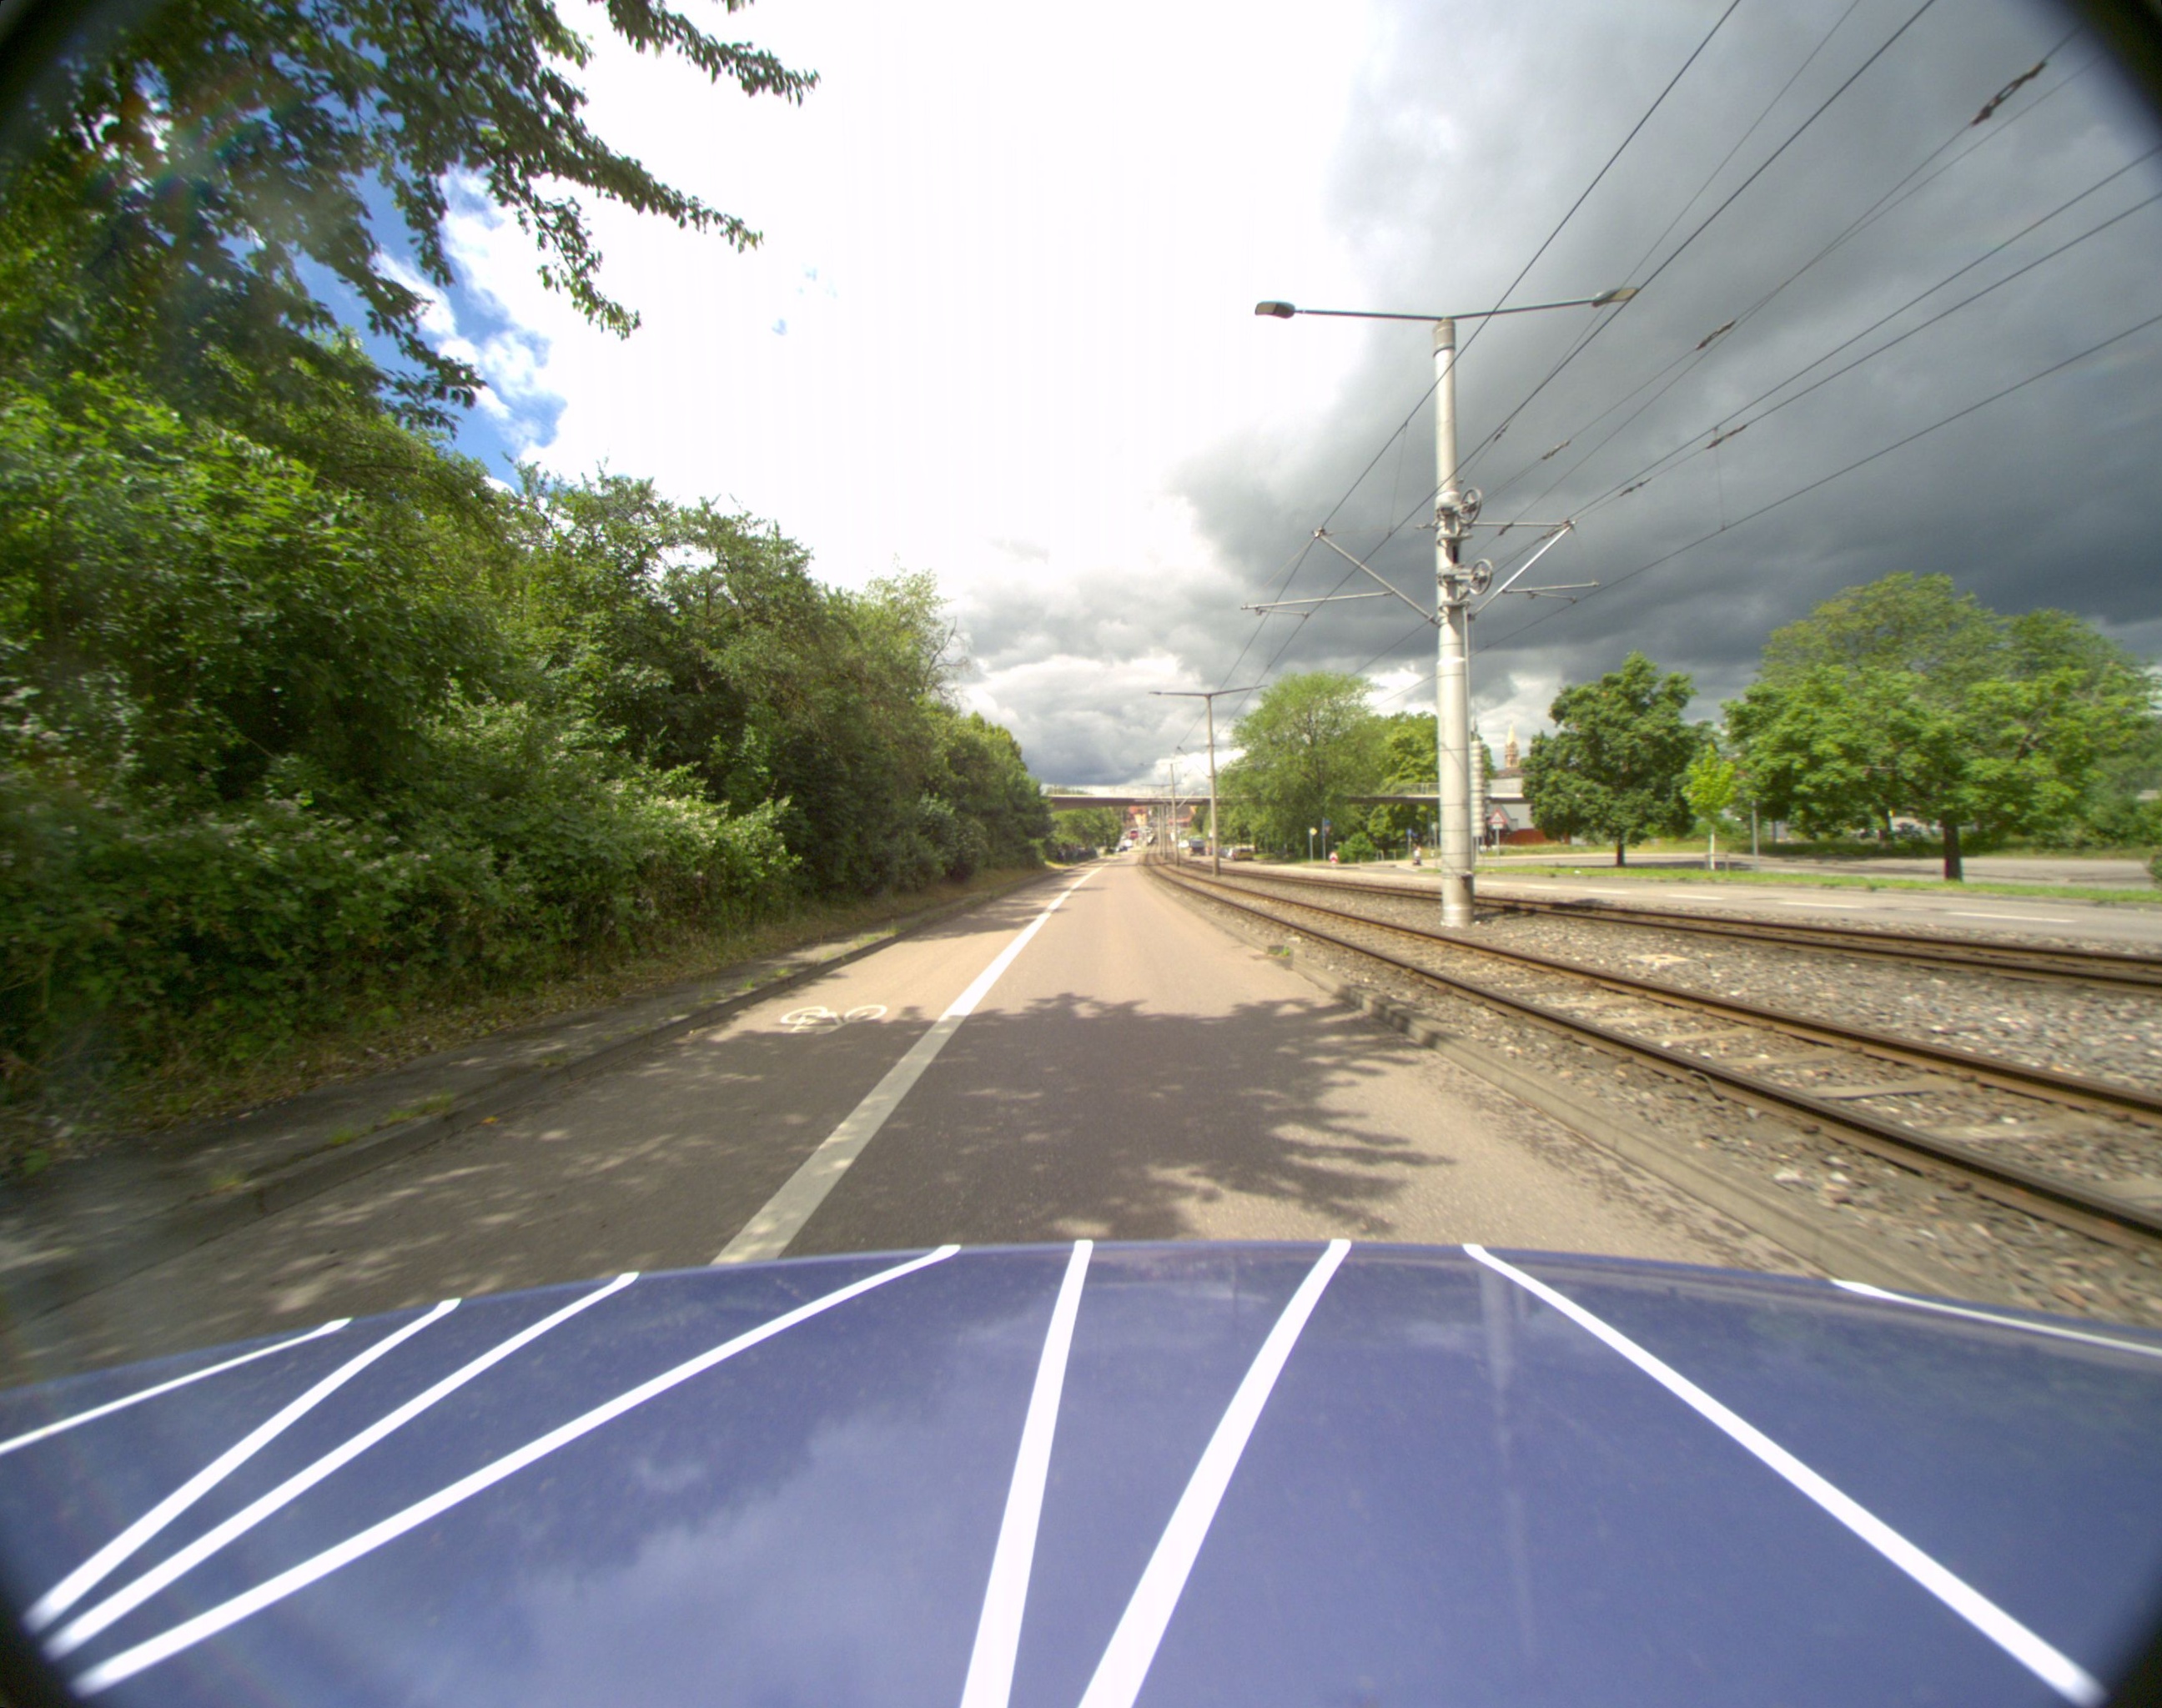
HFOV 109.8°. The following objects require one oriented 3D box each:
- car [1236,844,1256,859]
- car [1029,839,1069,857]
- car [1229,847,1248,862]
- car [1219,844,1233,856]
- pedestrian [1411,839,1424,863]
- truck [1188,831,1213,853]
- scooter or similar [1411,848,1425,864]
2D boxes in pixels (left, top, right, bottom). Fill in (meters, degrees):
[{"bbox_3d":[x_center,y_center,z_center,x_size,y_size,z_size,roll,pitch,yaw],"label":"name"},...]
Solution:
[{"bbox_3d":[18.313,-0.284,84.438,1.692,1.442,3.898,-4,3,6],"label":"car"},{"bbox_3d":[-3.854,-0.794,92.815,4.533,1.662,2.000,6,4,6],"label":"car"},{"bbox_3d":[18.413,0.037,88.762,1.692,1.442,3.898,-4,3,6],"label":"car"},{"bbox_3d":[20.320,-0.596,106.507,1.560,1.587,4.161,-1,1,6],"label":"car"},{"bbox_3d":[25.498,-0.223,57.638,0.662,1.746,0.718,-4,3,7],"label":"pedestrian"},{"bbox_3d":[19.447,-2.068,124.191,2.878,3.301,9.029,-4,2,2],"label":"truck"},{"bbox_3d":[25.173,0.129,56.713,0.712,1.141,0.788,-4,3,7],"label":"scooter or similar"}]
